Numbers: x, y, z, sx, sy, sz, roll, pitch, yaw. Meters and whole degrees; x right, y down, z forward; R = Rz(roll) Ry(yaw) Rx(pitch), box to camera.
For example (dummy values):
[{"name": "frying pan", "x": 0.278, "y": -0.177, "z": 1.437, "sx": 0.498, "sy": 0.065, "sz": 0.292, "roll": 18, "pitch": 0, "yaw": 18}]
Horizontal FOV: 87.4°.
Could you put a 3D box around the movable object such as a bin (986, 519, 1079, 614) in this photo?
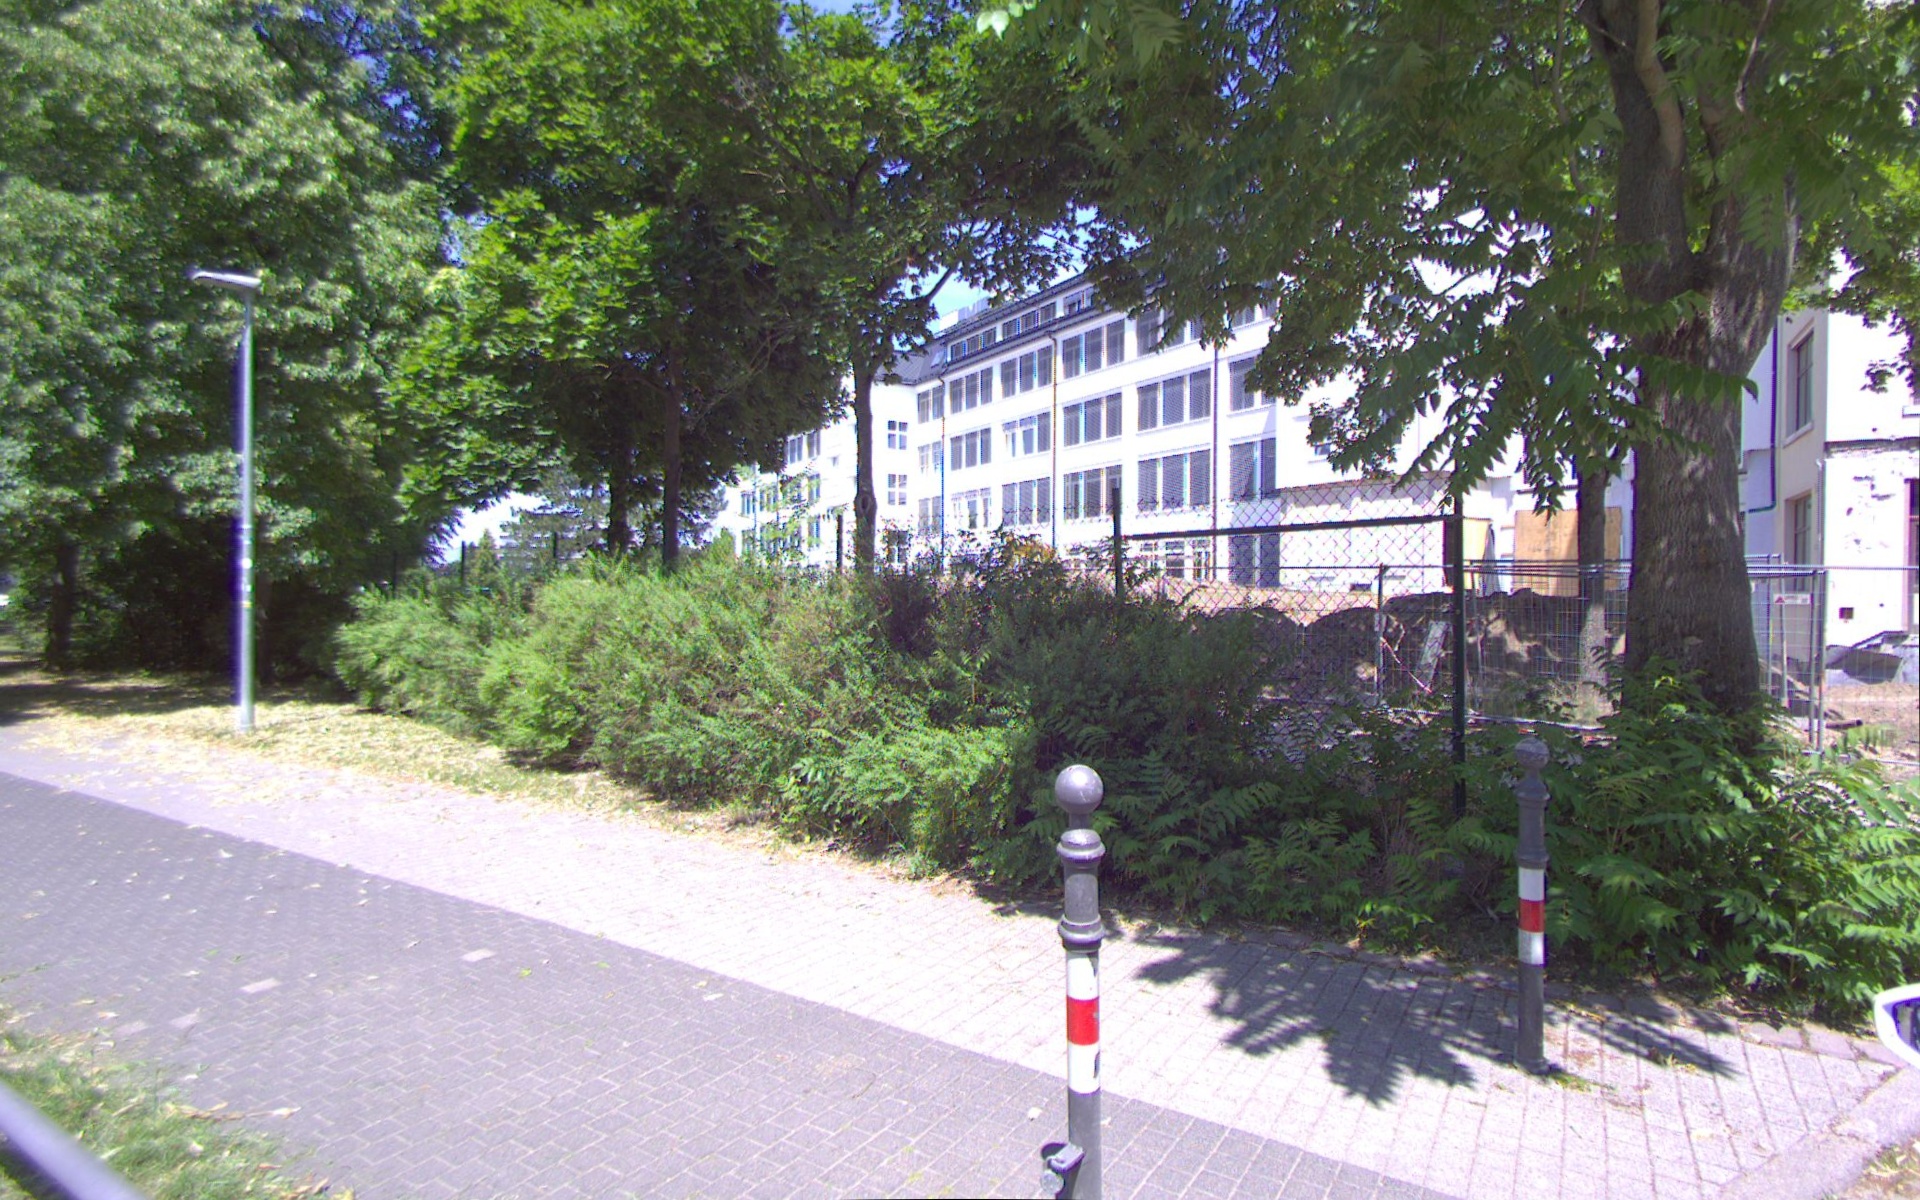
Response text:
[{"name": "movable object such as a bin", "x": 3.528, "y": -1.565, "z": 50.268, "sx": 1.974, "sy": 4.430, "sz": 5.684, "roll": 1, "pitch": 0, "yaw": -27}]
